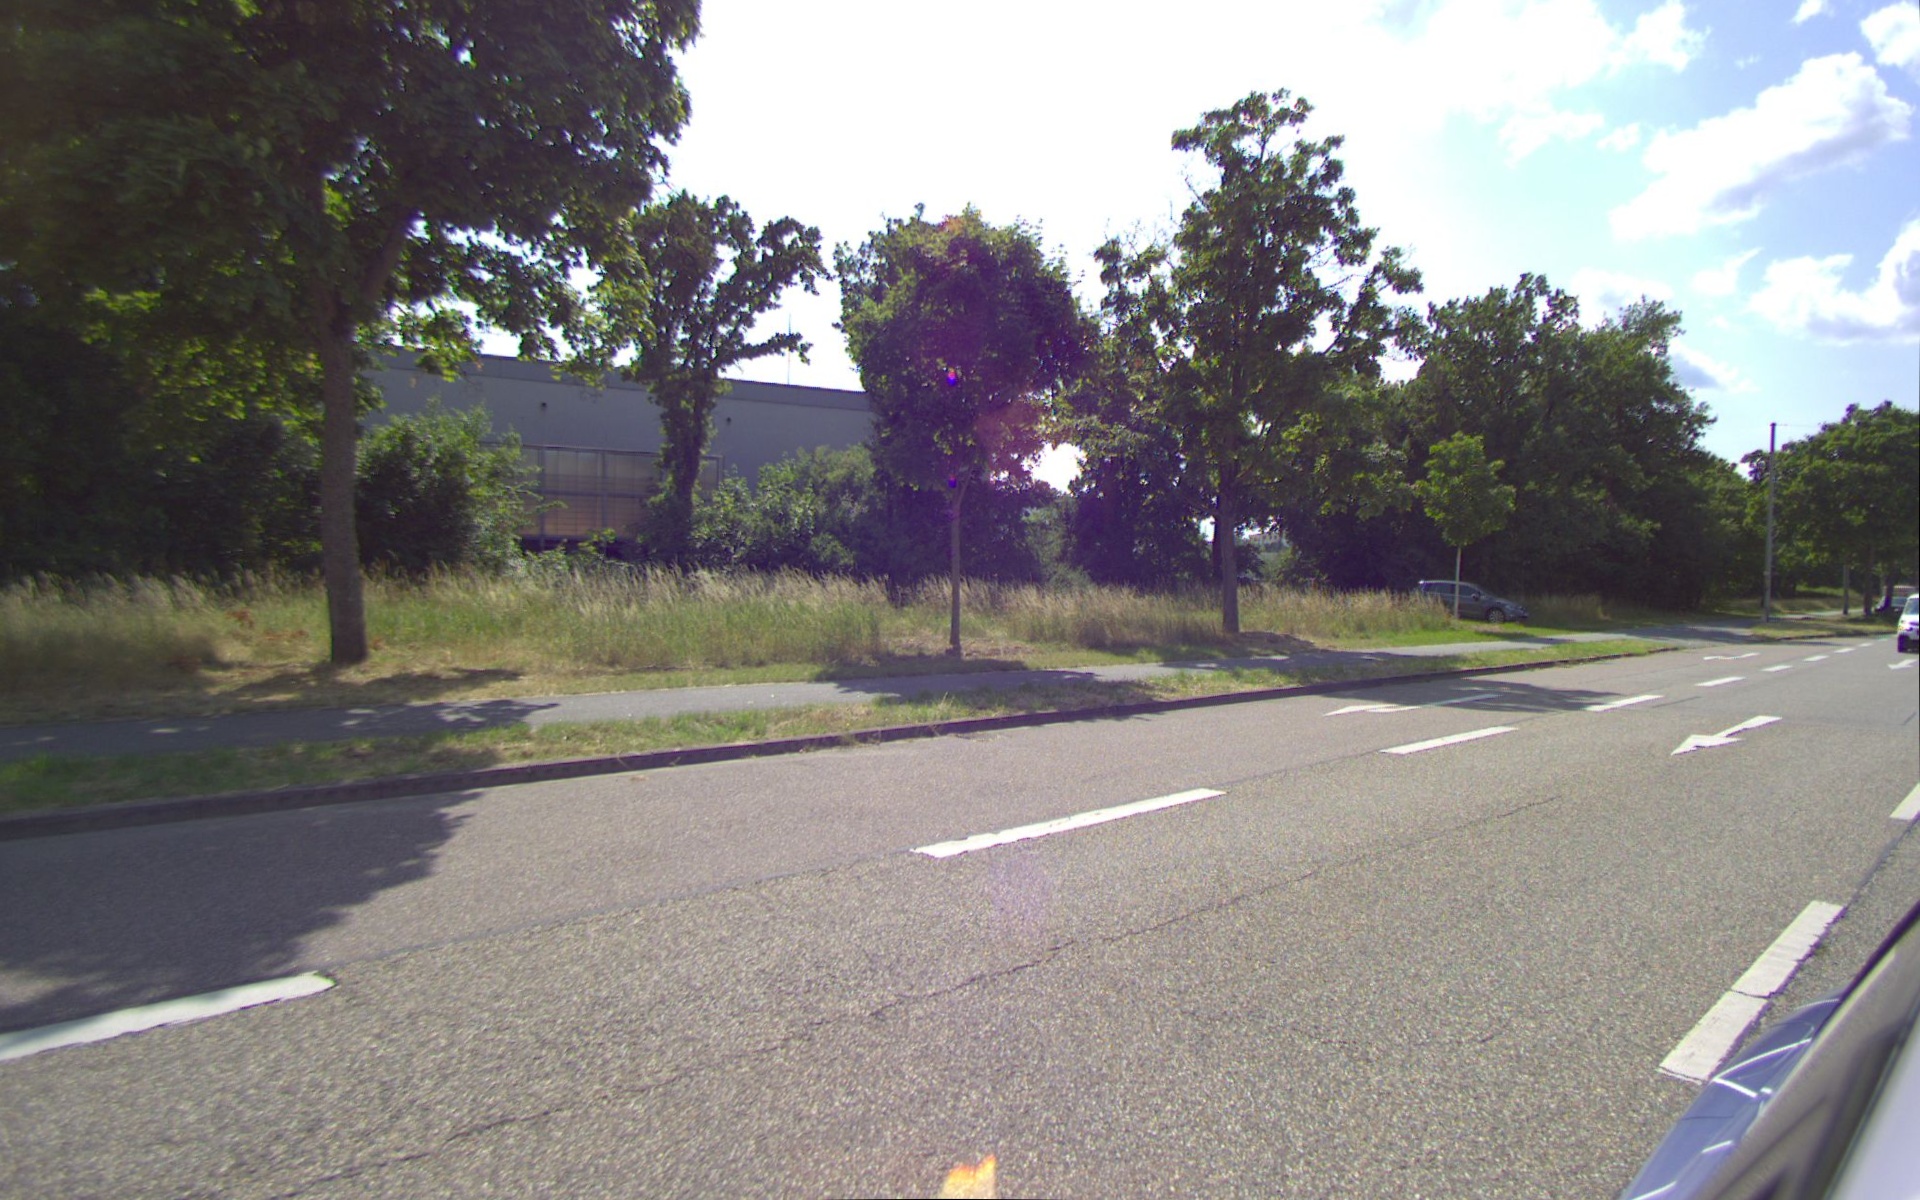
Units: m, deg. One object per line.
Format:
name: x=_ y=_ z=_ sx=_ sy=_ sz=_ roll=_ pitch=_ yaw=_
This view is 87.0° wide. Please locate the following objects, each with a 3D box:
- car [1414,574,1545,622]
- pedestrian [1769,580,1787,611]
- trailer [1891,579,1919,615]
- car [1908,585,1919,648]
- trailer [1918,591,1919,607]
car: x=20.221 y=-0.094 z=39.507 sx=4.166 sy=1.511 sz=1.756 roll=7 pitch=3 yaw=44
pedestrian: x=48.162 y=-0.248 z=59.564 sx=0.727 sy=1.816 sz=0.718 roll=-1 pitch=0 yaw=-43
trailer: x=66.964 y=-0.225 z=71.134 sx=4.530 sy=2.380 sz=1.955 roll=-1 pitch=4 yaw=-44
car: x=29.875 y=0.474 z=30.180 sx=4.634 sy=1.808 sz=1.933 roll=0 pitch=0 yaw=-42
trailer: x=82.103 y=-0.522 z=84.913 sx=4.701 sy=2.392 sz=1.998 roll=-1 pitch=7 yaw=-43
